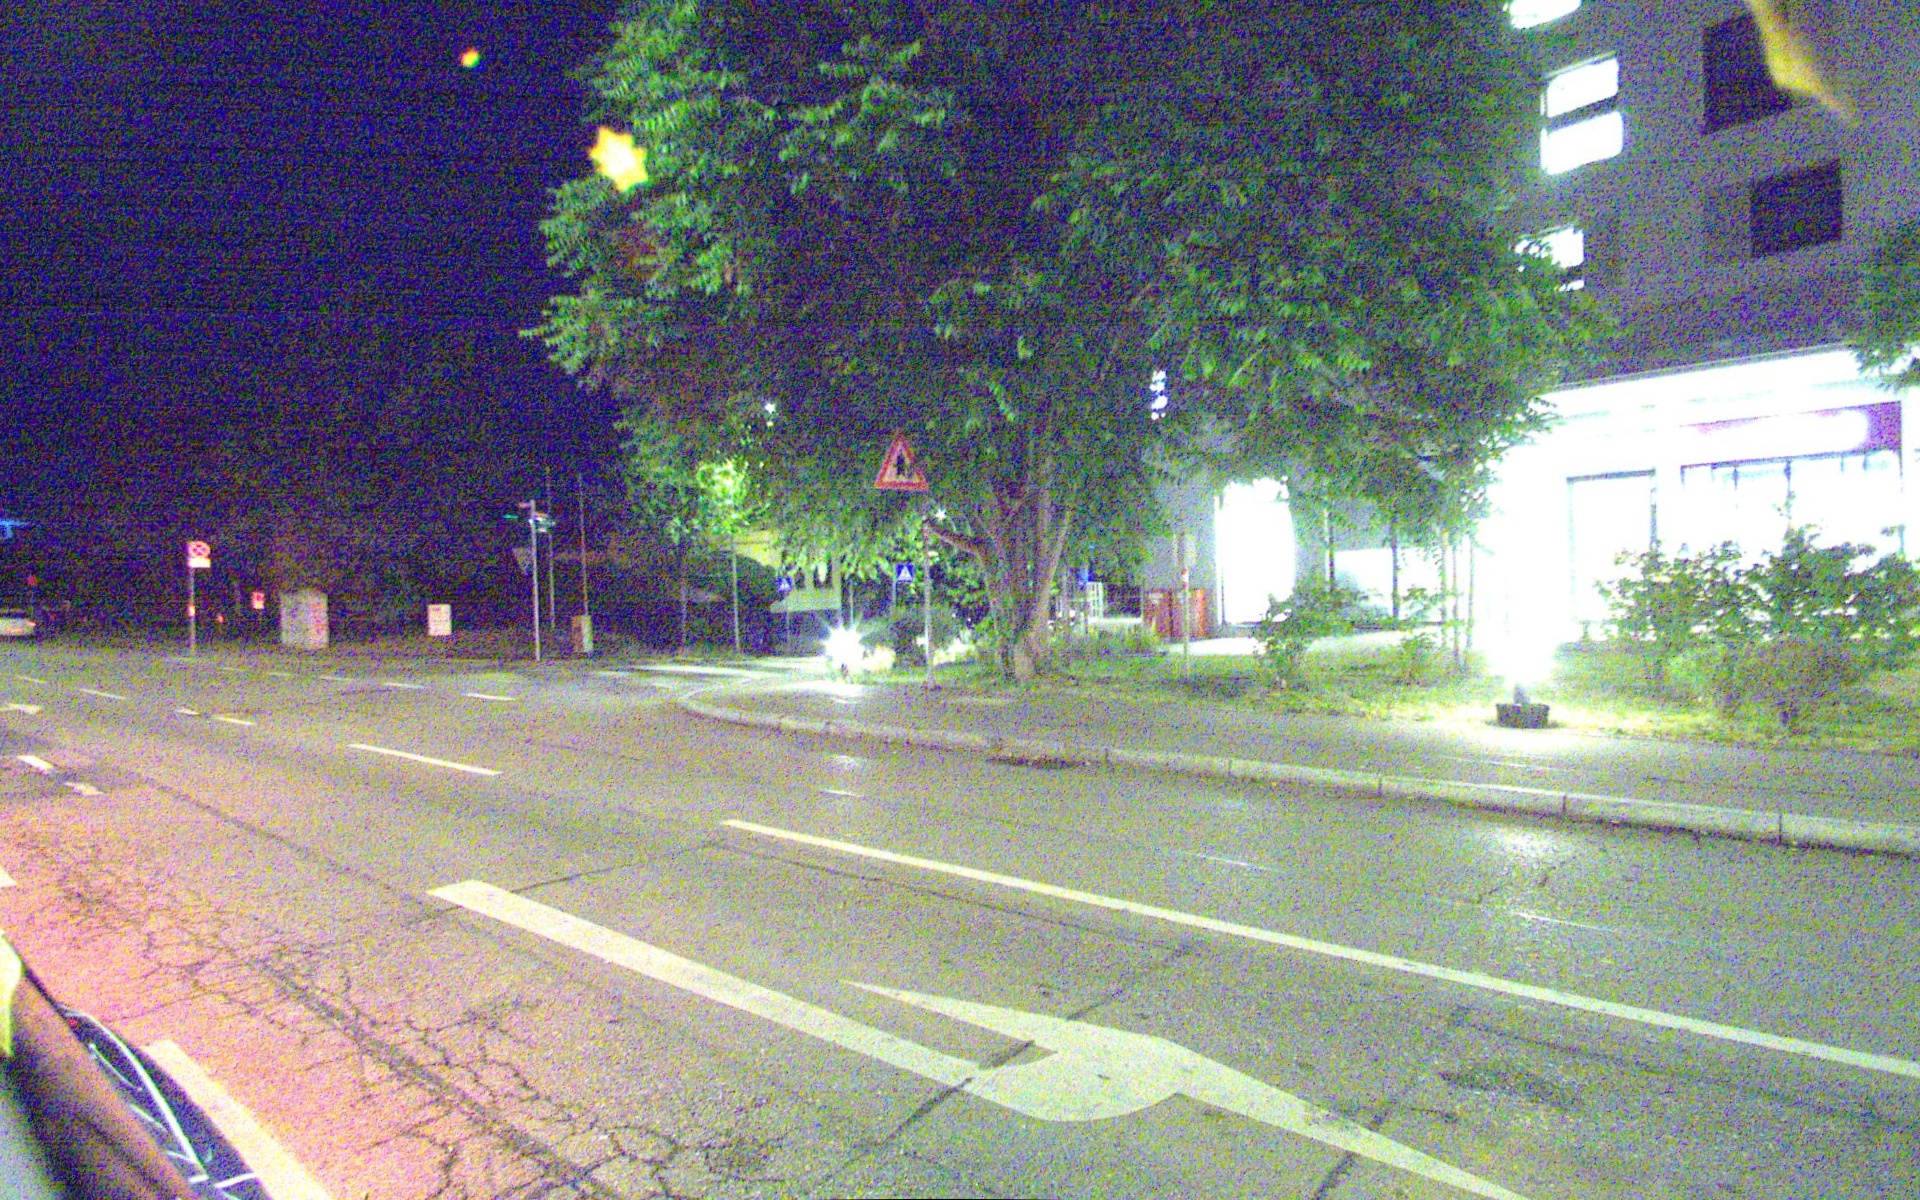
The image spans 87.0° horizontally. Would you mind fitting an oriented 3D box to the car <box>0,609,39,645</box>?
[{"bbox_3d":[-43.252,1.202,45.818,3.998,1.464,1.887,1,2,41],"label":"car"}]
